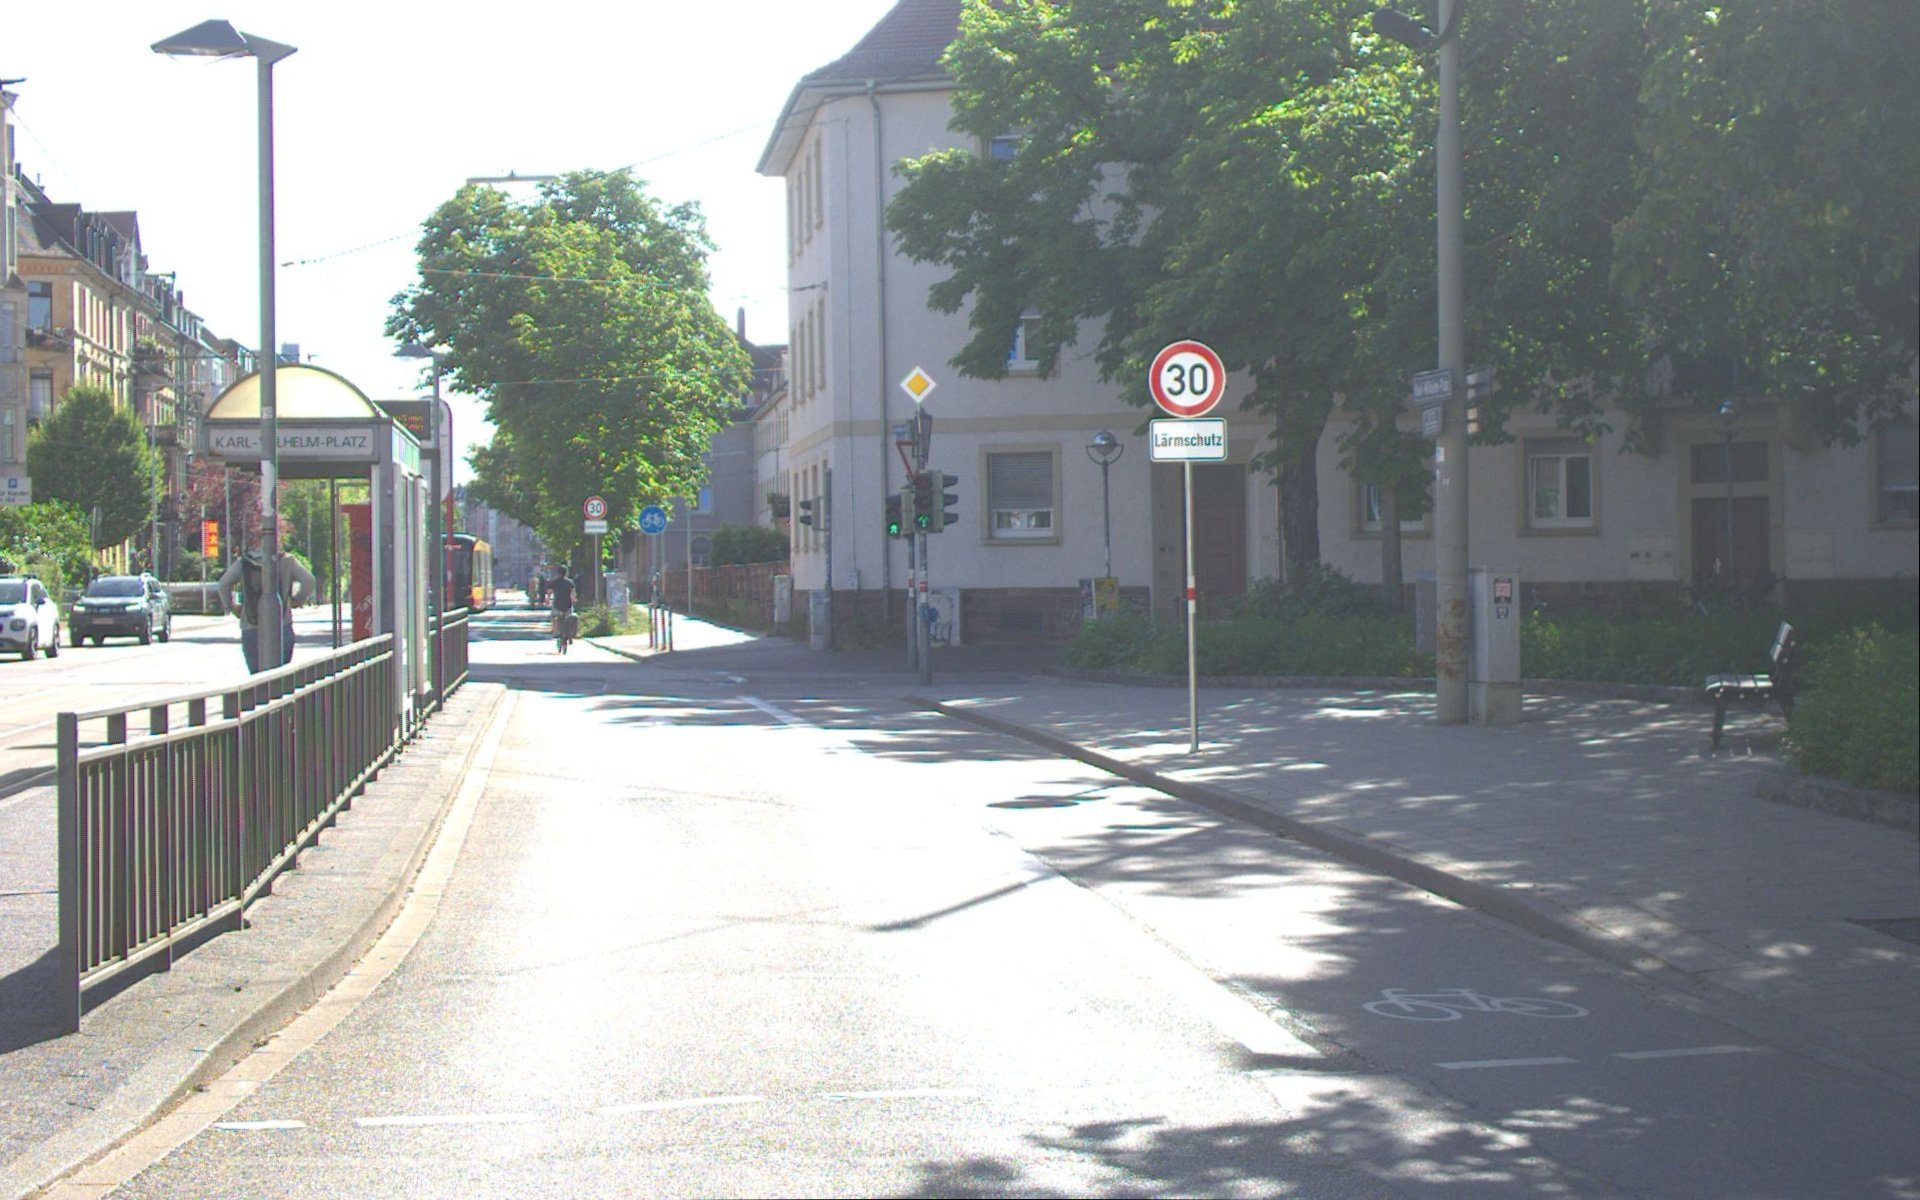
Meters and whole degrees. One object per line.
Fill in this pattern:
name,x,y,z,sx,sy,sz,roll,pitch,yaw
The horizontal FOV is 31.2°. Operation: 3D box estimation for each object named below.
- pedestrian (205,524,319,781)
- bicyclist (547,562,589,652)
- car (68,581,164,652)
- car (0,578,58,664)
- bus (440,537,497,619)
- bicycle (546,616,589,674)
pedestrian,-5.540,0.415,27.331,0.795,2.007,0.740,1,-1,-6
bicyclist,-7.992,0.146,70.070,0.817,1.805,1.059,1,0,-7
car,-19.761,0.392,80.608,1.775,1.612,4.001,1,0,-8
car,-18.606,0.402,66.451,1.775,1.612,4.001,1,0,-8
bus,-21.584,-0.926,150.846,2.385,3.485,7.386,1,0,-9
bicycle,-8.003,0.900,70.115,0.841,1.152,2.539,1,0,-6
